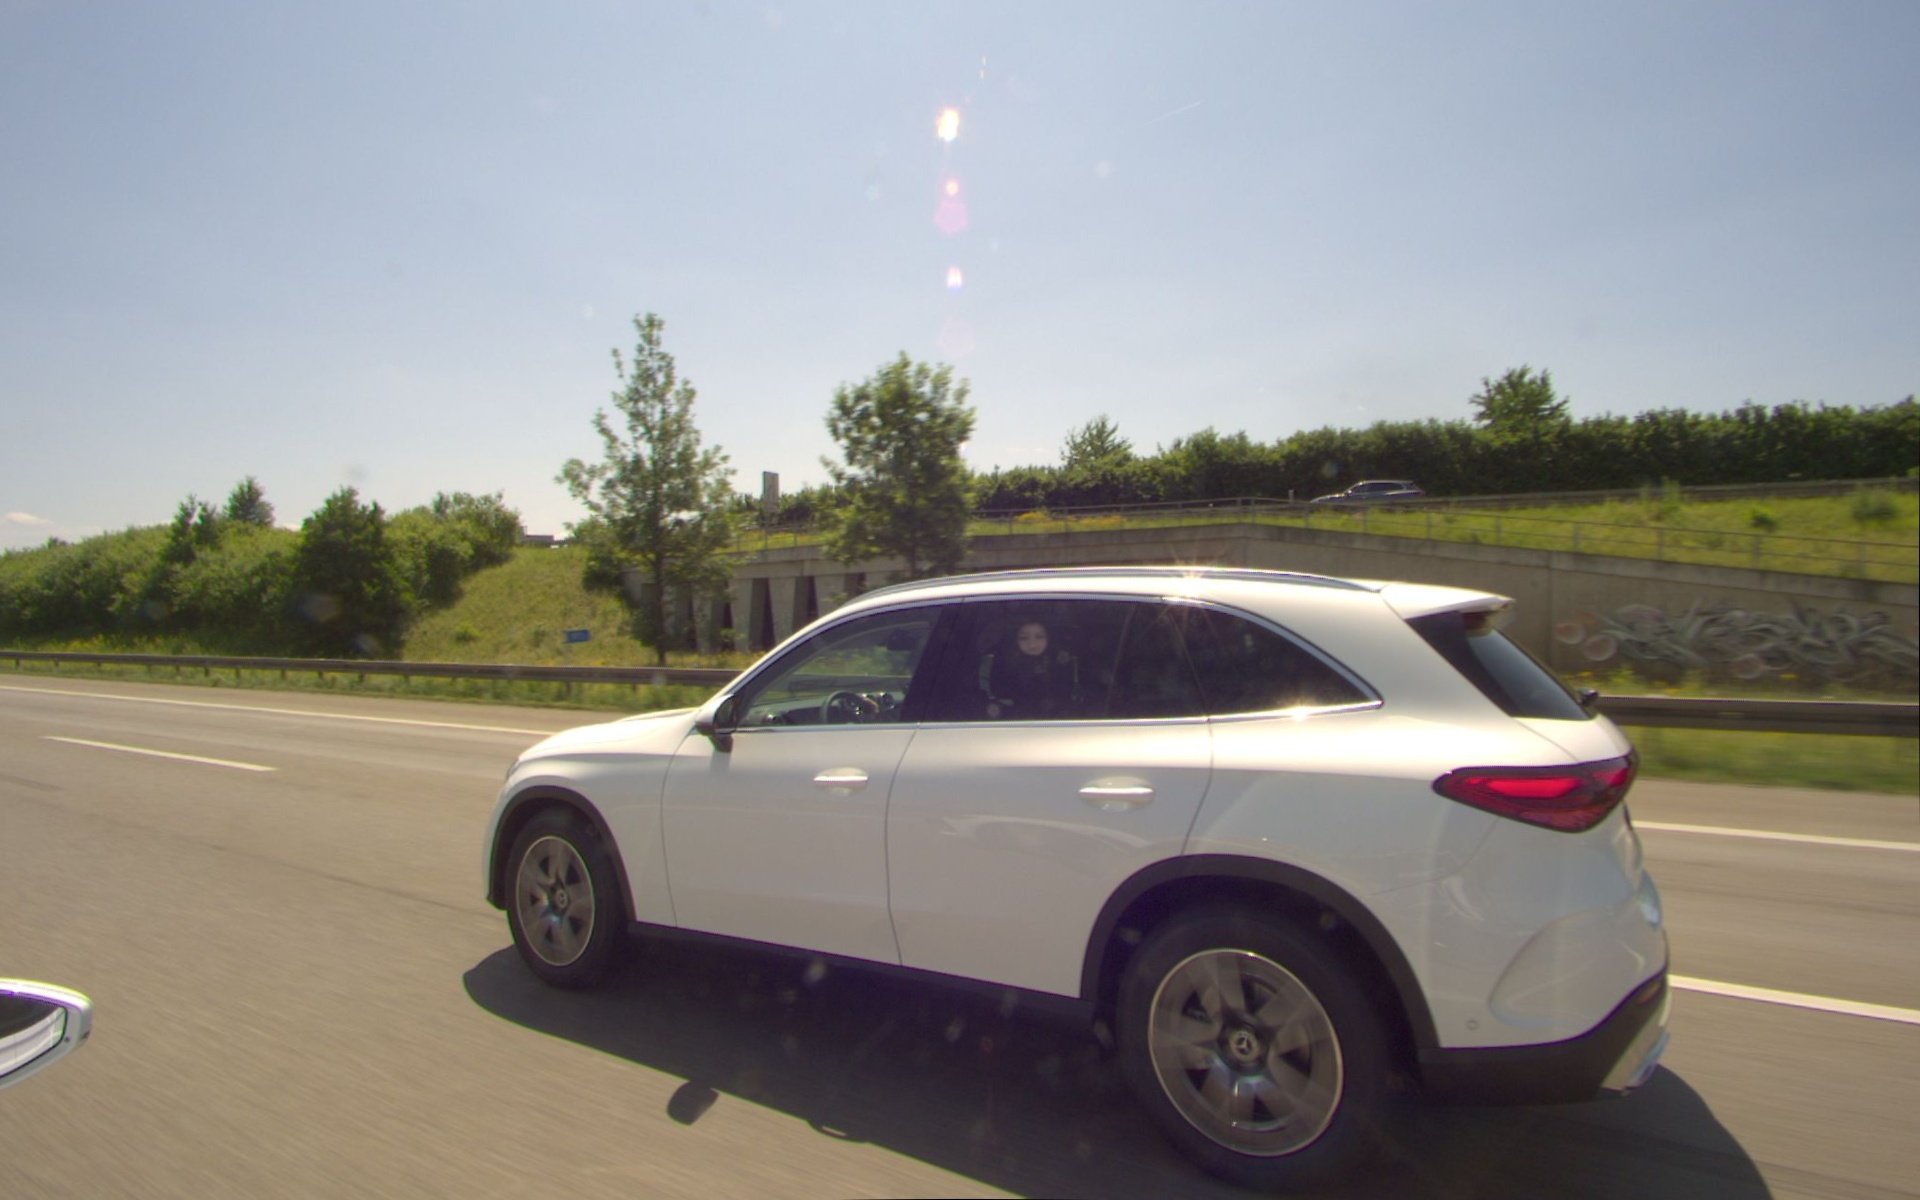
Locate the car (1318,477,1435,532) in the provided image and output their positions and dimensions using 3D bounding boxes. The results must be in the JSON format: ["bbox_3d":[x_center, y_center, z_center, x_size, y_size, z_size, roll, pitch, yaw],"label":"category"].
[{"bbox_3d":[17.953,-4.055,43.184,4.460,1.830,1.992,-2,-2,30],"label":"car"}]

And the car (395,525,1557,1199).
[{"bbox_3d":[-0.192,0.753,4.194,4.571,1.677,1.901,-1,-2,33],"label":"car"}]
